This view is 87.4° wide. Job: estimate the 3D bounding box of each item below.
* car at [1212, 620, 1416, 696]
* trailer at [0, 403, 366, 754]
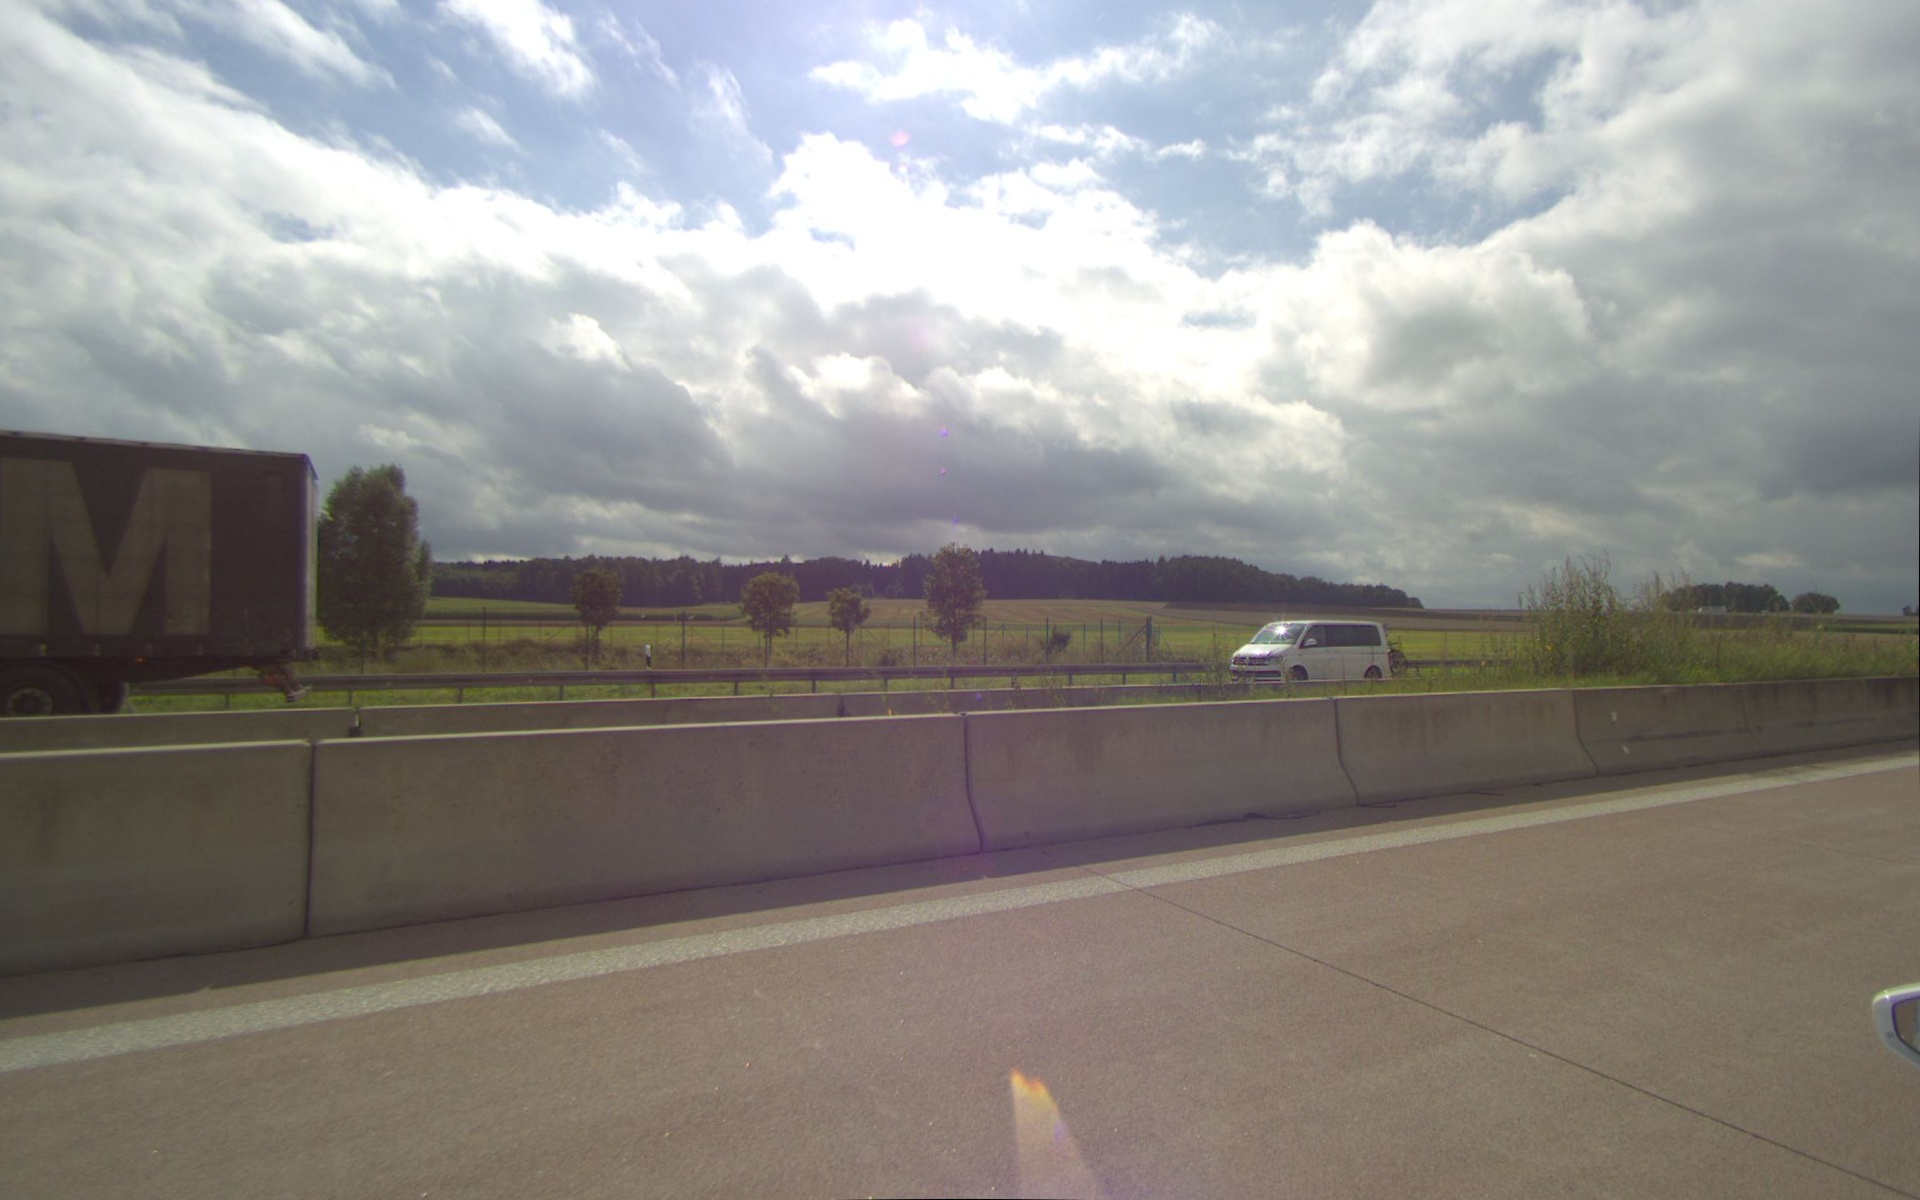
[{"bbox_3d":[9.622,1.502,27.142,5.661,1.870,2.049,1,-2,-30],"label":"car"},{"bbox_3d":[-14.452,-0.322,12.582,11.951,4.321,3.007,1,1,-30],"label":"trailer"}]
